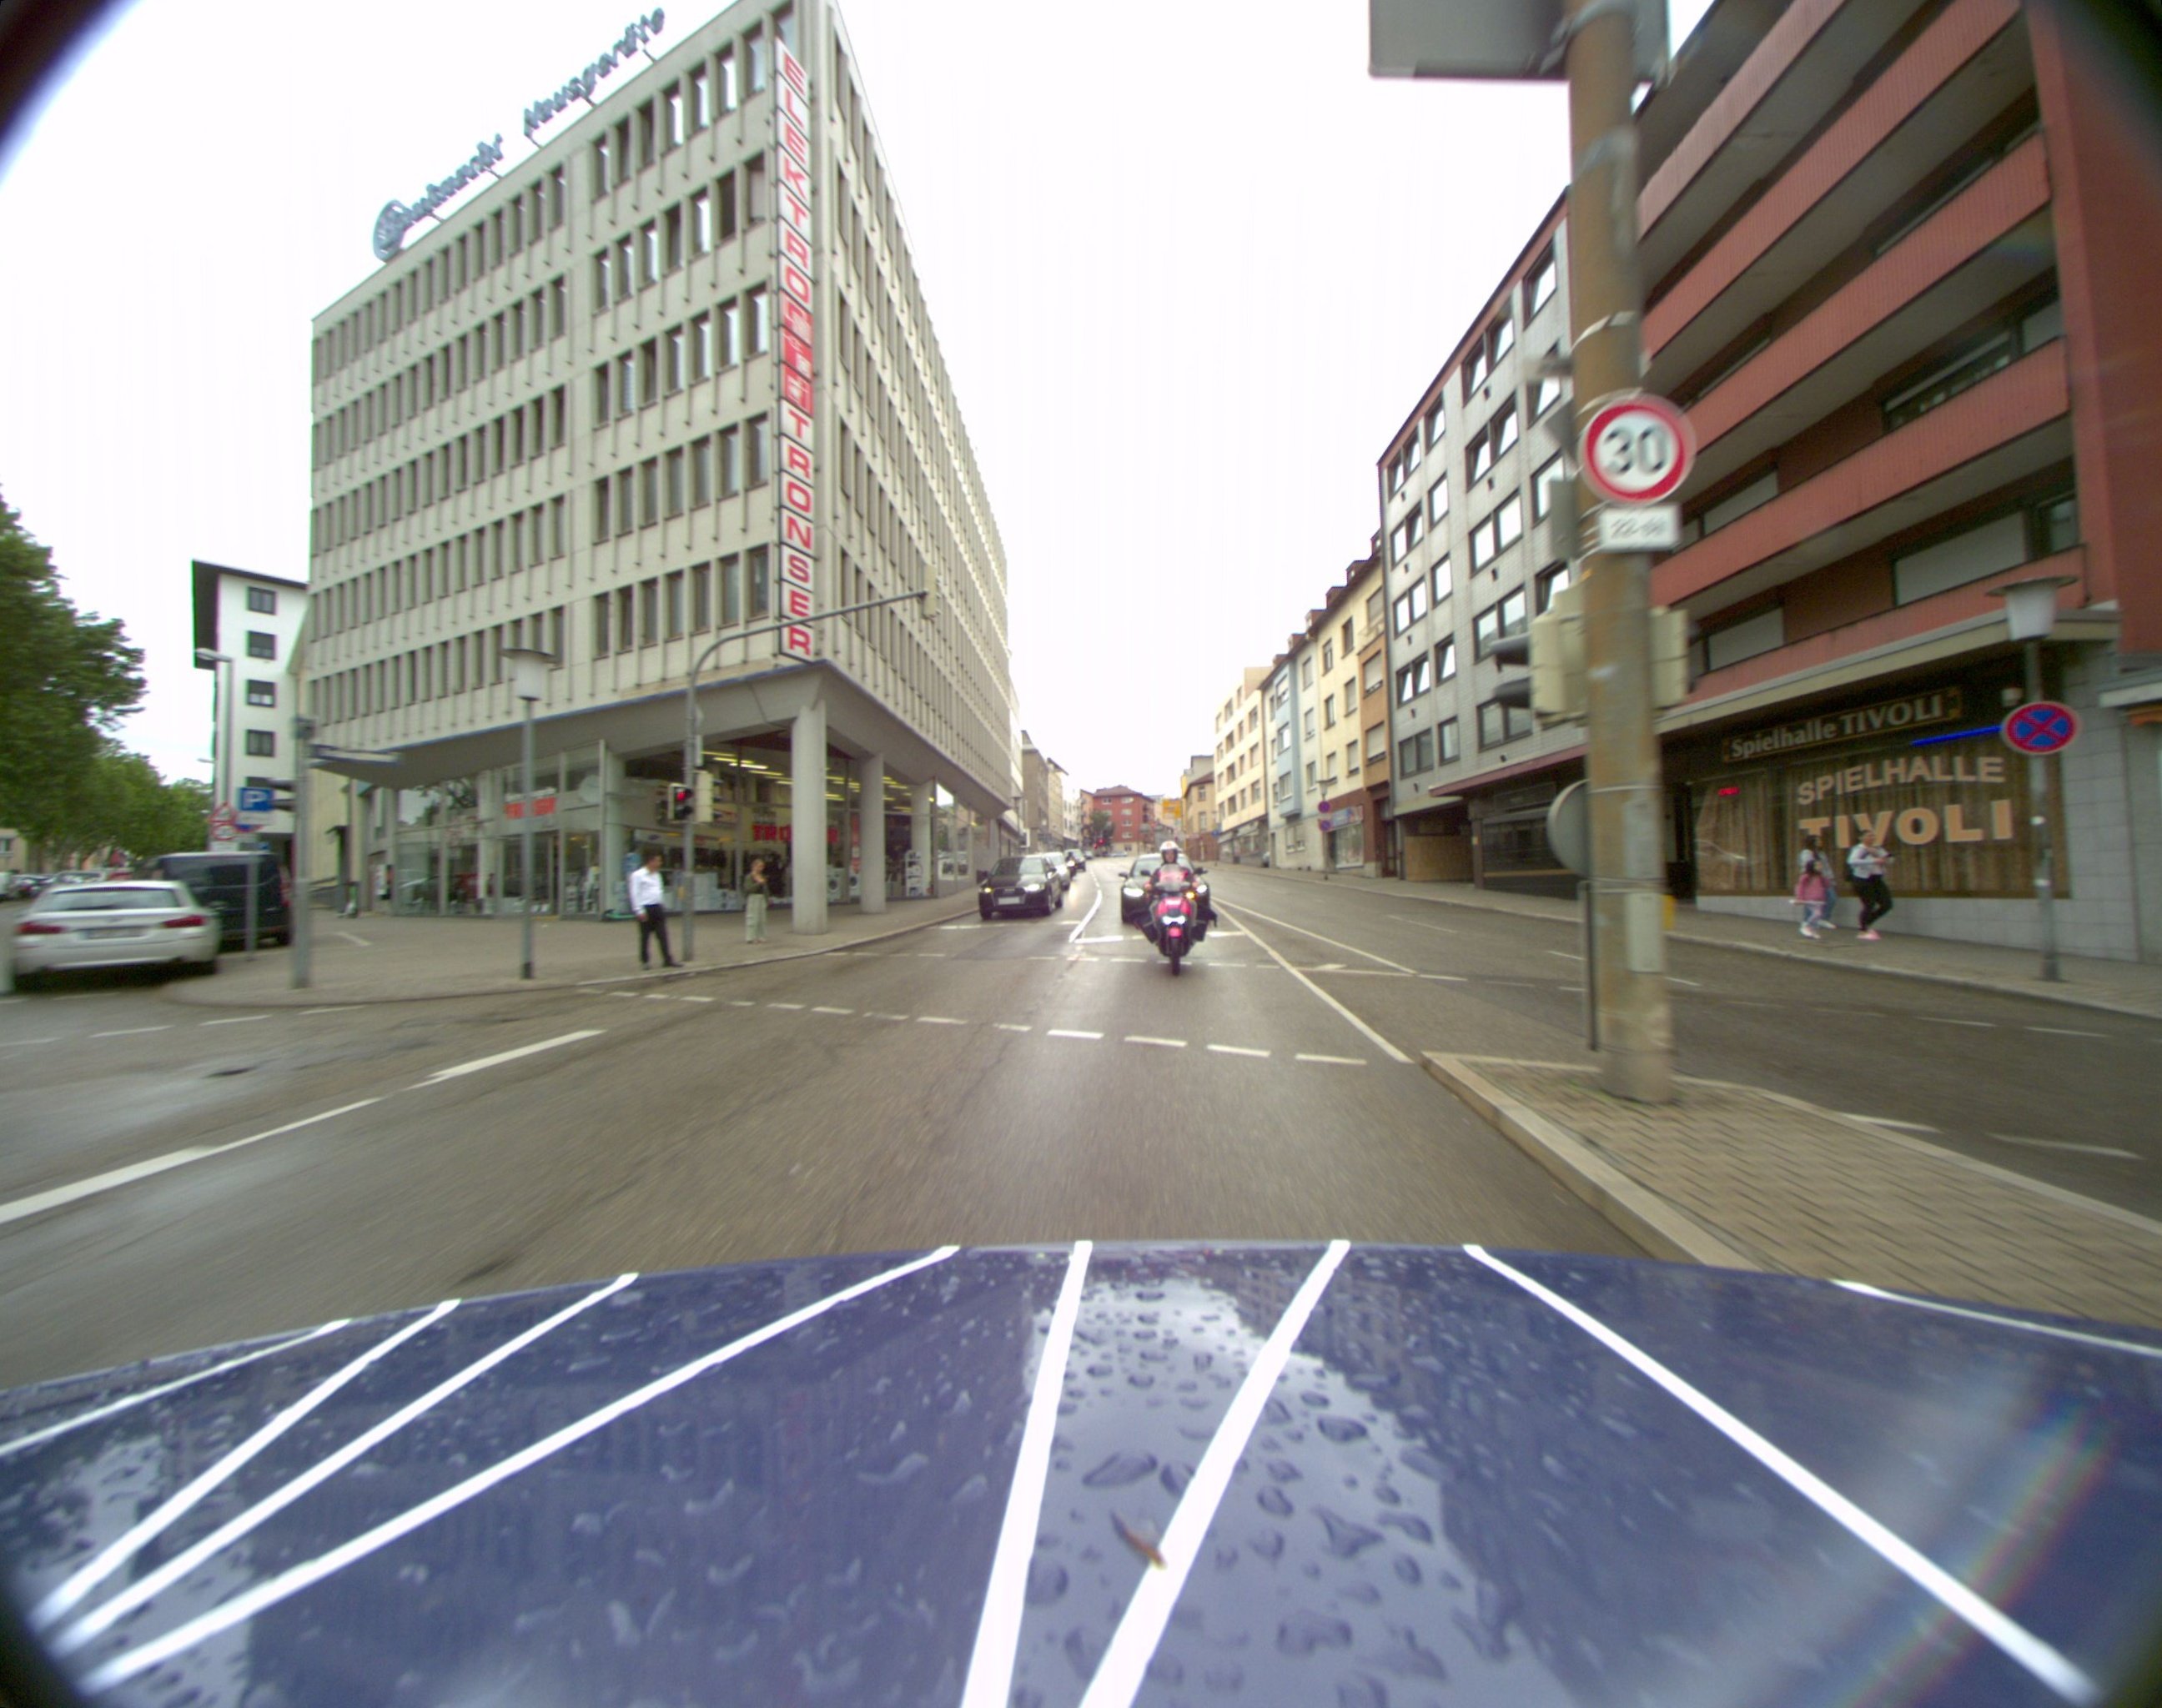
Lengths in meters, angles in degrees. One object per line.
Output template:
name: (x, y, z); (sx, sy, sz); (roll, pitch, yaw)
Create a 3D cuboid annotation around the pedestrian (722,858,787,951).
pedestrian: (-6.221, 0.938, 14.507); (0.722, 1.680, 0.831); (1, 3, 22)

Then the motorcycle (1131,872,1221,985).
motorcycle: (1.211, 0.912, 10.324); (1.010, 1.219, 2.694); (-1, 1, 3)

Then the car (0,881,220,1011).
car: (-14.904, 1.242, 11.822); (4.838, 1.486, 1.860); (-1, 2, 42)

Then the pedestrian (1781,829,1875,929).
pedestrian: (12.443, 0.398, 12.672); (0.830, 1.552, 0.723); (-4, 2, -8)

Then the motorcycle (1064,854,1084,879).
motorcycle: (-0.378, 0.648, 41.489); (0.847, 1.219, 2.372); (-5, 1, -4)

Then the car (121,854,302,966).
car: (-18.544, 1.052, 16.142); (4.792, 1.986, 1.964); (-1, 2, 35)

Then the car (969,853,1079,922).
car: (-1.404, 0.828, 20.589); (1.826, 1.551, 4.204); (-3, 0, 11)

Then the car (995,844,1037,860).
car: (-7.448, -0.208, 87.335); (4.531, 1.495, 2.000); (-4, 1, 5)

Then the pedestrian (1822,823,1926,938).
pedestrian: (12.281, 0.390, 11.783); (0.830, 1.680, 0.723); (-4, 2, -8)

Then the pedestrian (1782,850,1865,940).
pedestrian: (11.568, 0.616, 11.853); (0.535, 1.315, 0.723); (-4, 2, -8)

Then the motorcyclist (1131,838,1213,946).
motorcyclist: (1.200, 0.482, 10.193); (1.010, 1.373, 0.835); (-1, 1, 3)

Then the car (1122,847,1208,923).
car: (1.884, 0.643, 18.168); (1.705, 1.452, 4.318); (-4, 1, 3)

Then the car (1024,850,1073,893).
car: (-1.406, 0.696, 32.491); (1.831, 1.532, 4.250); (-5, 1, -3)

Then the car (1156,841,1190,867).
car: (5.980, -0.033, 49.940); (1.739, 1.584, 4.174); (0, 2, 0)

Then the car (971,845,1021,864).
car: (-7.308, 0.017, 65.454); (4.002, 1.521, 1.761); (-2, 1, -15)

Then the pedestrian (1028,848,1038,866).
pedestrian: (-4.169, 0.242, 65.998); (0.767, 1.542, 0.890); (0, 2, -2)

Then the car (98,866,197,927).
car: (-31.046, 1.339, 25.319); (3.988, 1.754, 1.891); (0, 2, 39)

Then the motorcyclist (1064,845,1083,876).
motorcyclist: (-0.397, 0.337, 41.439); (0.847, 1.580, 0.962); (-5, 2, -4)

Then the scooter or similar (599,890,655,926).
scooter or similar: (-11.354, 1.338, 19.024); (0.307, 0.819, 1.128); (0, 2, 43)

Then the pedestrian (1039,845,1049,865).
pedestrian: (-3.252, 0.105, 66.938); (0.786, 1.696, 1.120); (0, 2, -2)

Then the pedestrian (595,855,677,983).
pedestrian: (-6.619, 0.938, 11.352); (0.723, 1.808, 0.829); (0, 2, -5)

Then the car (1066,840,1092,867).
car: (-0.165, -0.083, 57.995); (1.848, 1.893, 3.764); (-2, 1, 0)

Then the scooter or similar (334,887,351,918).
scooter or similar: (-24.373, 1.604, 25.067); (0.812, 0.993, 0.220); (-1, 2, 34)
